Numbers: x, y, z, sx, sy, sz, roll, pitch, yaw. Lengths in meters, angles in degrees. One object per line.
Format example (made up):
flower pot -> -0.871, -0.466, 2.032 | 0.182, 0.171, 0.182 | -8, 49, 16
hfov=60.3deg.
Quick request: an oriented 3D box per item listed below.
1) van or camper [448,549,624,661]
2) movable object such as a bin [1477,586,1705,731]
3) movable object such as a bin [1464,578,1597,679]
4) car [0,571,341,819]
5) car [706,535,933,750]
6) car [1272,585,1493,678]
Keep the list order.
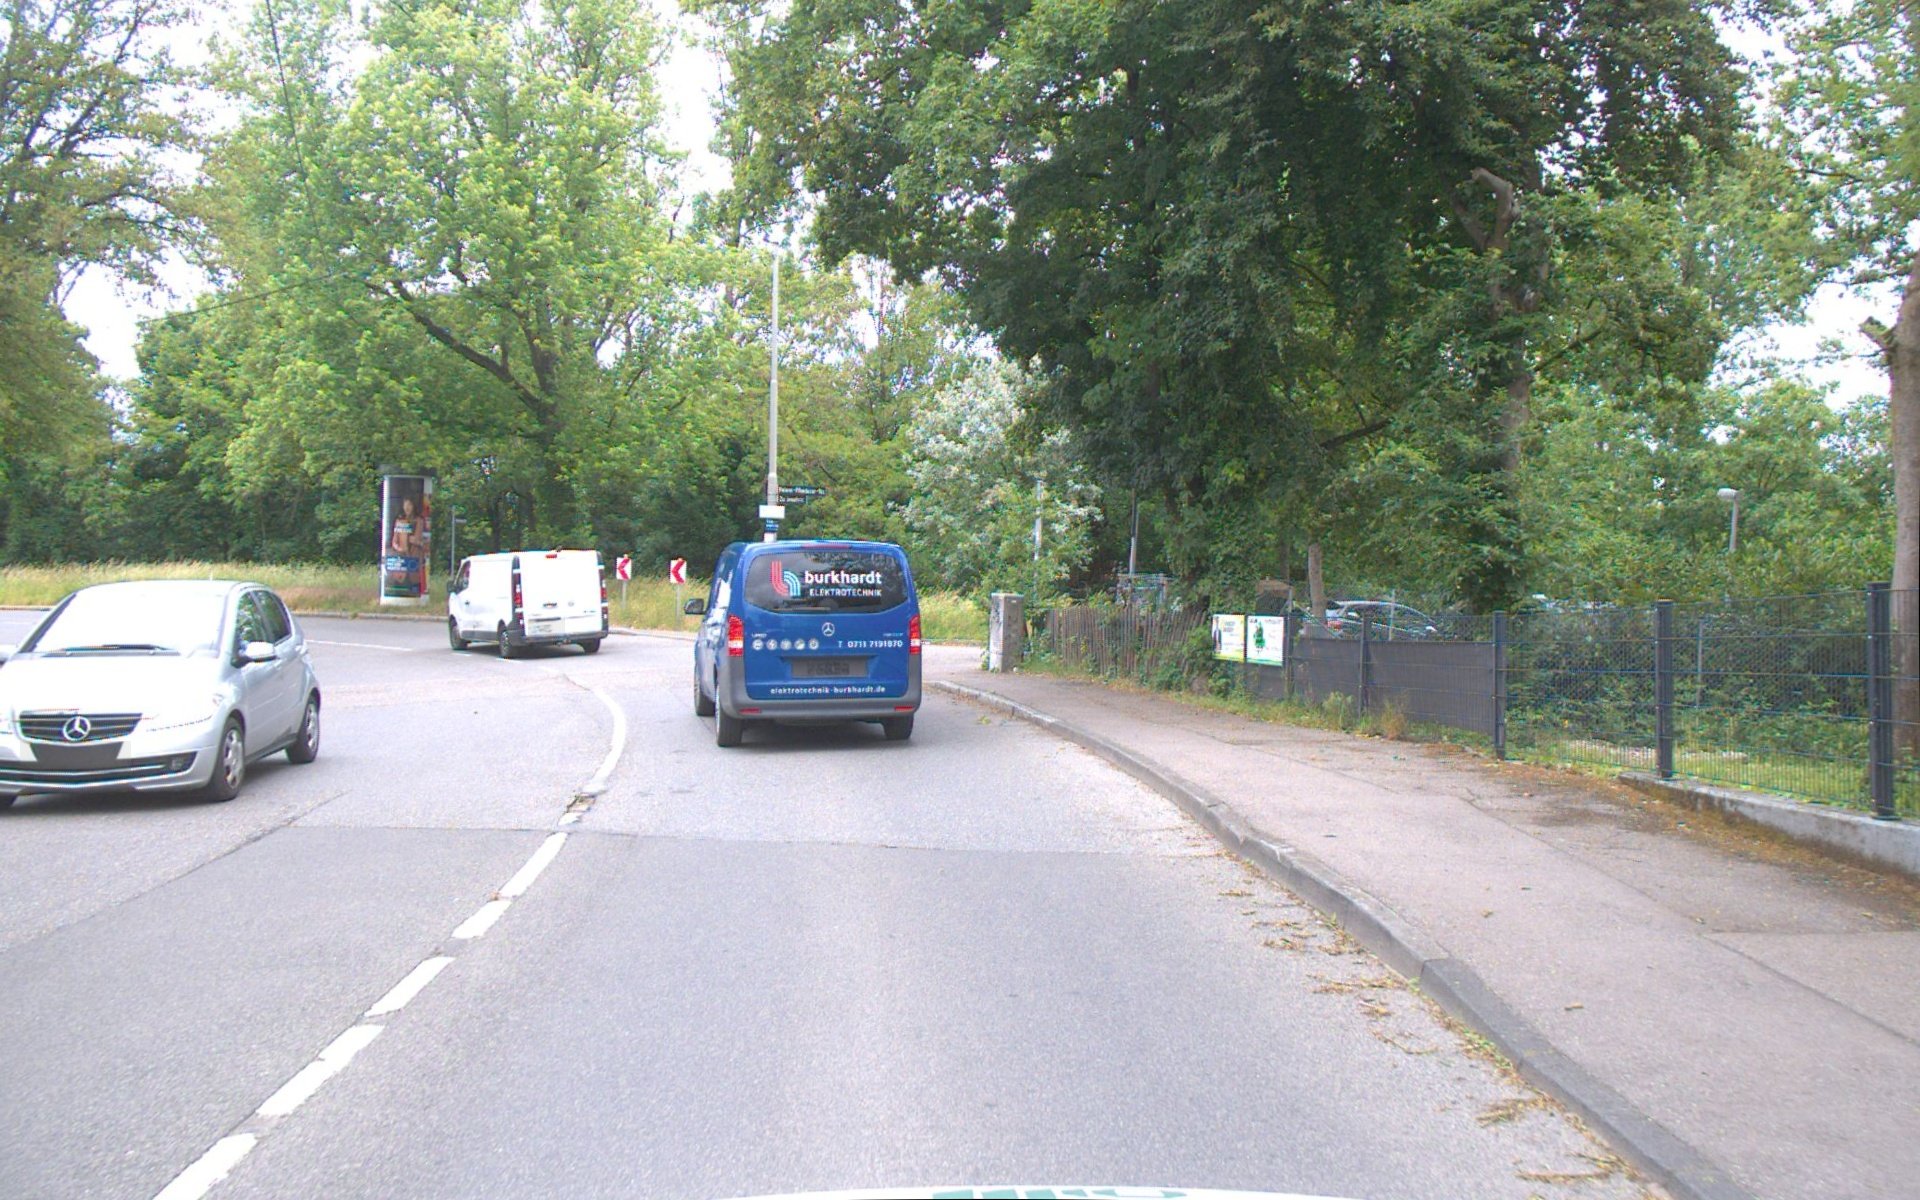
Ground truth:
van or camper -> -8.423, 0.007, 32.548 | 2.000, 1.990, 4.843 | -2, 3, -32
movable object such as a bin -> 8.399, 0.740, 22.192 | 2.064, 1.818, 2.204 | 0, 1, -8
movable object such as a bin -> 9.286, 0.437, 27.000 | 1.396, 1.574, 1.671 | 0, 1, -11
car -> -6.213, 0.604, 13.134 | 1.691, 1.633, 3.968 | -1, 1, -10
car -> -1.546, 0.343, 16.664 | 1.879, 1.869, 4.283 | 0, 1, -10
car -> 8.027, 0.595, 31.520 | 3.602, 1.422, 1.823 | 5, -1, -17
